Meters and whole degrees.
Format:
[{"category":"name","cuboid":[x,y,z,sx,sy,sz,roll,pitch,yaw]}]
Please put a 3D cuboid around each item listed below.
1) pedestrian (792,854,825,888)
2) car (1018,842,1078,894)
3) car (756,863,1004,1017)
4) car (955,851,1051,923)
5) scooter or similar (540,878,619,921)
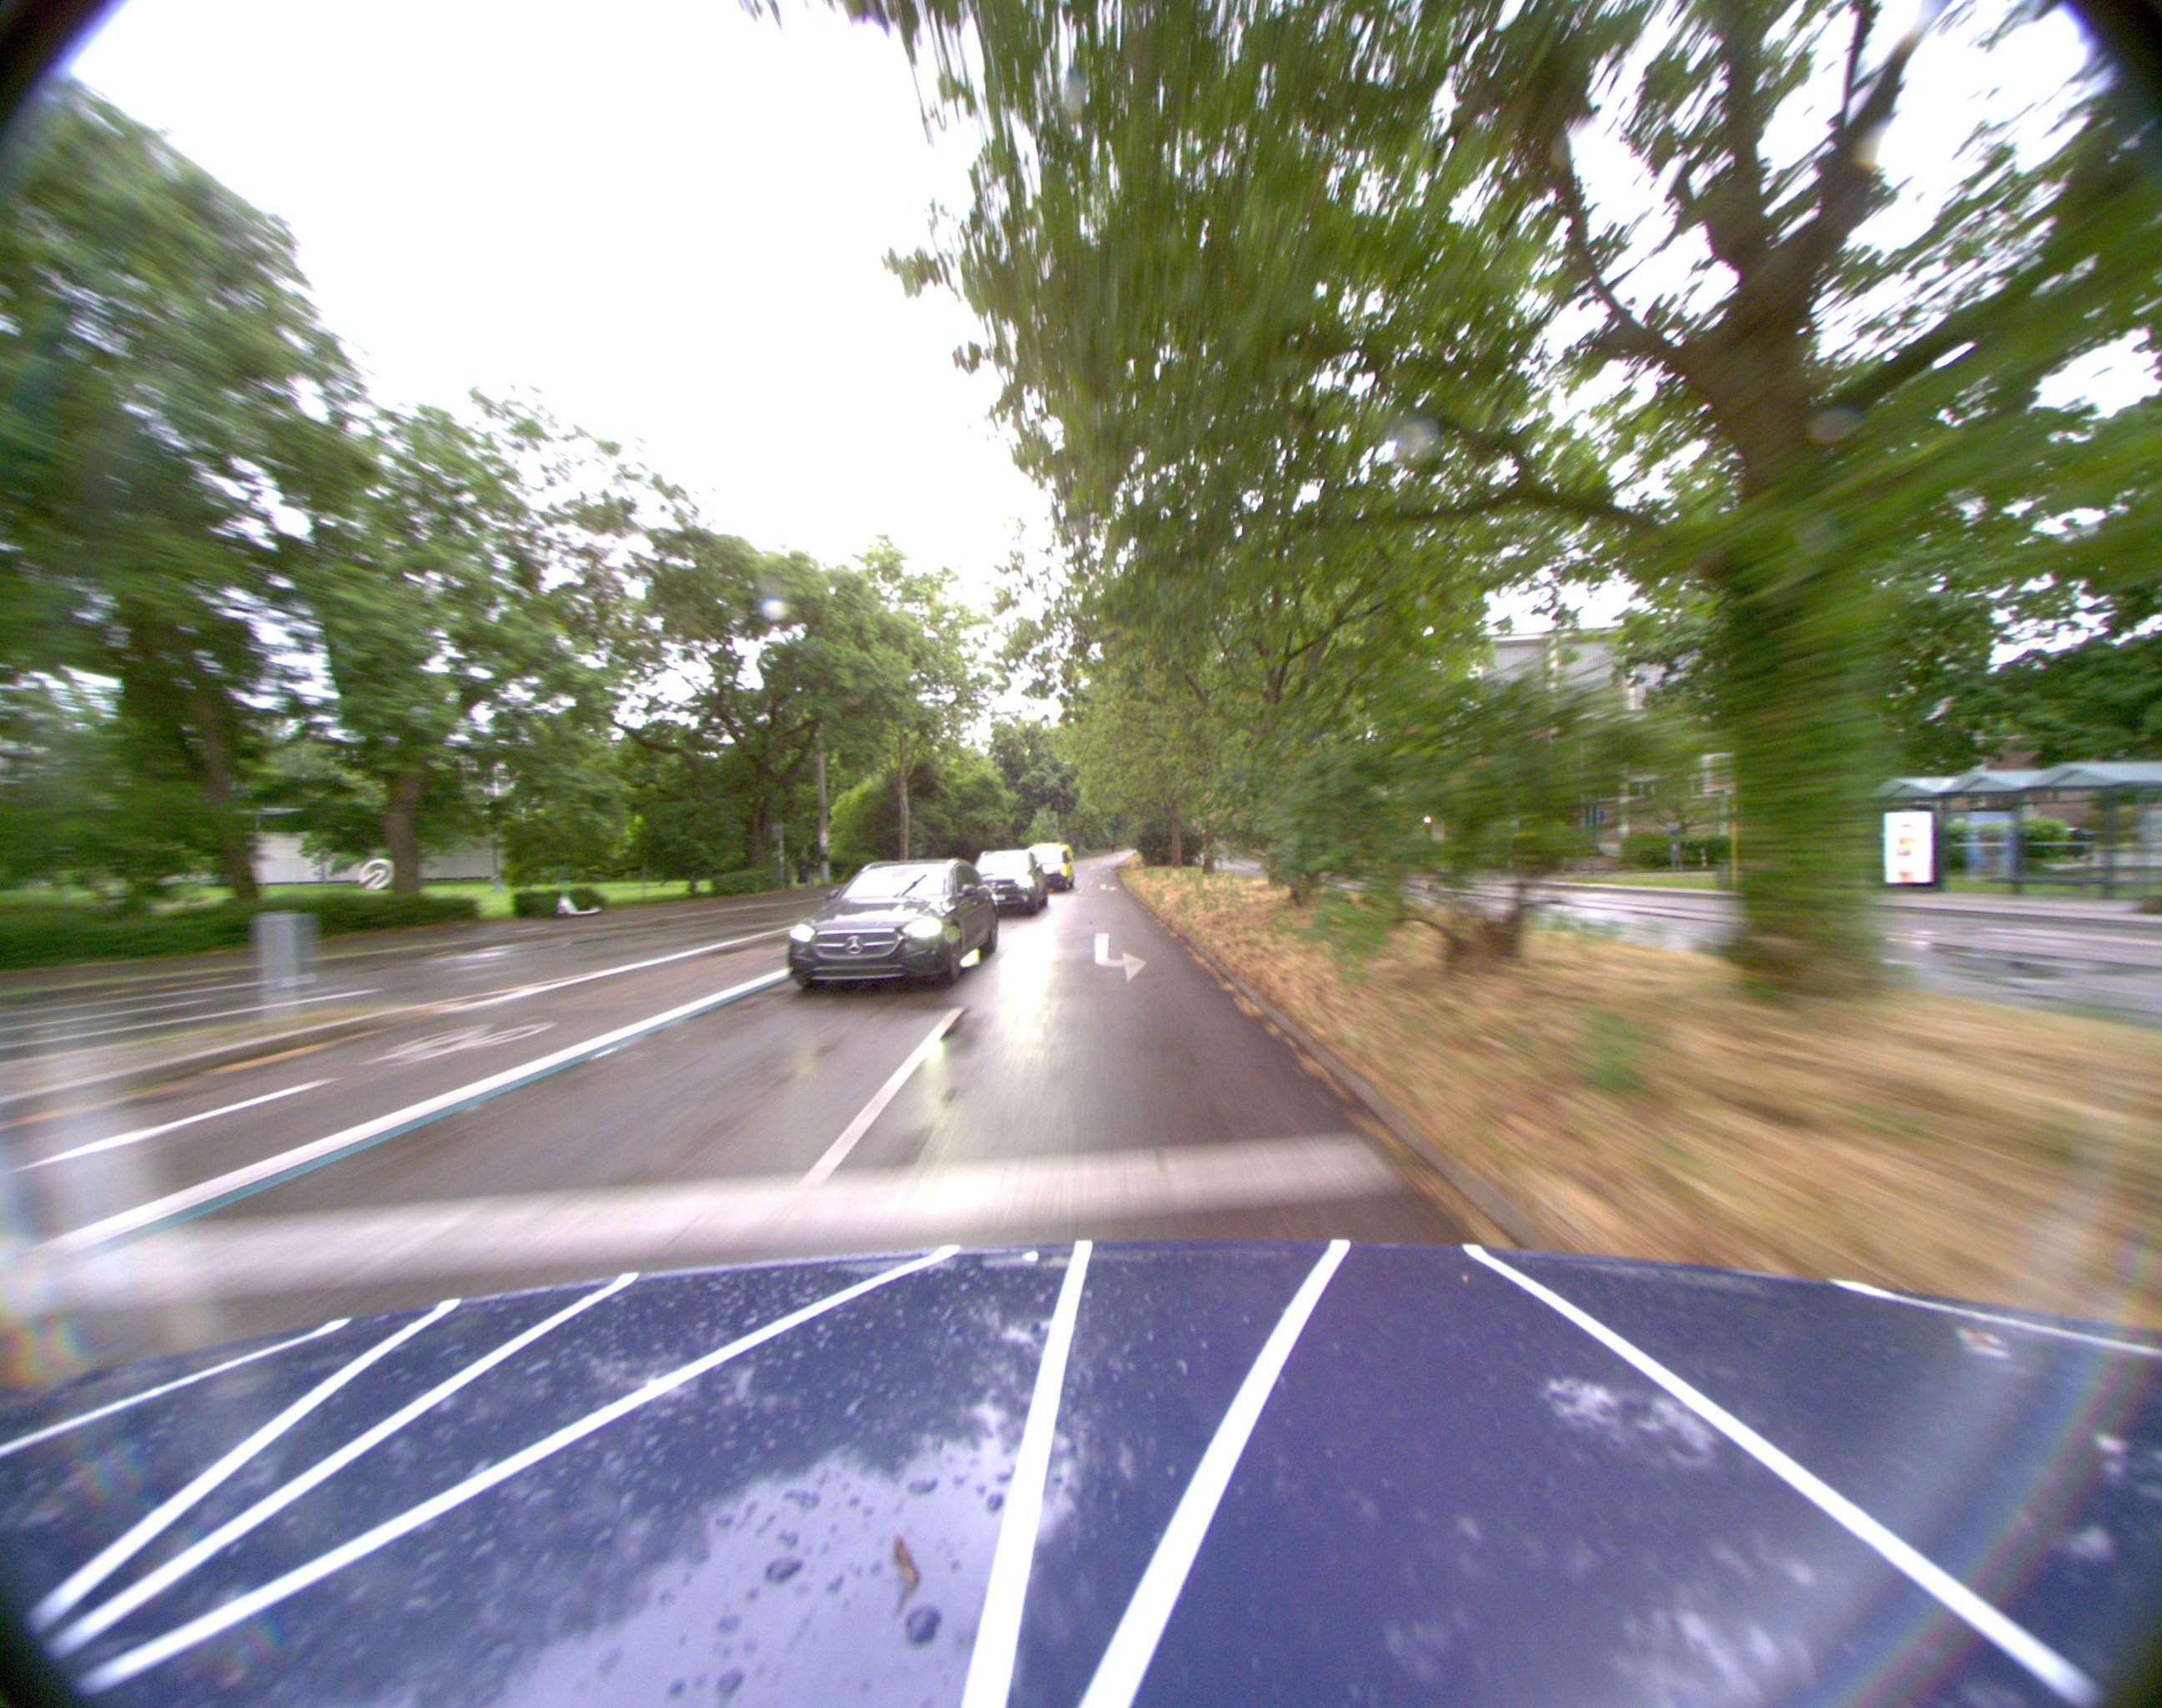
[{"category":"pedestrian","cuboid":[-13.346,0.837,37.230,1.068,1.597,1.060,-1,3,43]},{"category":"car","cuboid":[-1.269,0.506,30.938,1.884,1.865,4.742,-3,1,3]},{"category":"car","cuboid":[-2.346,0.929,10.360,1.884,1.437,4.930,-2,1,2]},{"category":"car","cuboid":[-1.925,0.771,20.202,1.833,1.598,4.577,-3,0,2]},{"category":"scooter or similar","cuboid":[-14.296,1.265,21.725,0.557,1.095,1.894,2,1,22]}]
